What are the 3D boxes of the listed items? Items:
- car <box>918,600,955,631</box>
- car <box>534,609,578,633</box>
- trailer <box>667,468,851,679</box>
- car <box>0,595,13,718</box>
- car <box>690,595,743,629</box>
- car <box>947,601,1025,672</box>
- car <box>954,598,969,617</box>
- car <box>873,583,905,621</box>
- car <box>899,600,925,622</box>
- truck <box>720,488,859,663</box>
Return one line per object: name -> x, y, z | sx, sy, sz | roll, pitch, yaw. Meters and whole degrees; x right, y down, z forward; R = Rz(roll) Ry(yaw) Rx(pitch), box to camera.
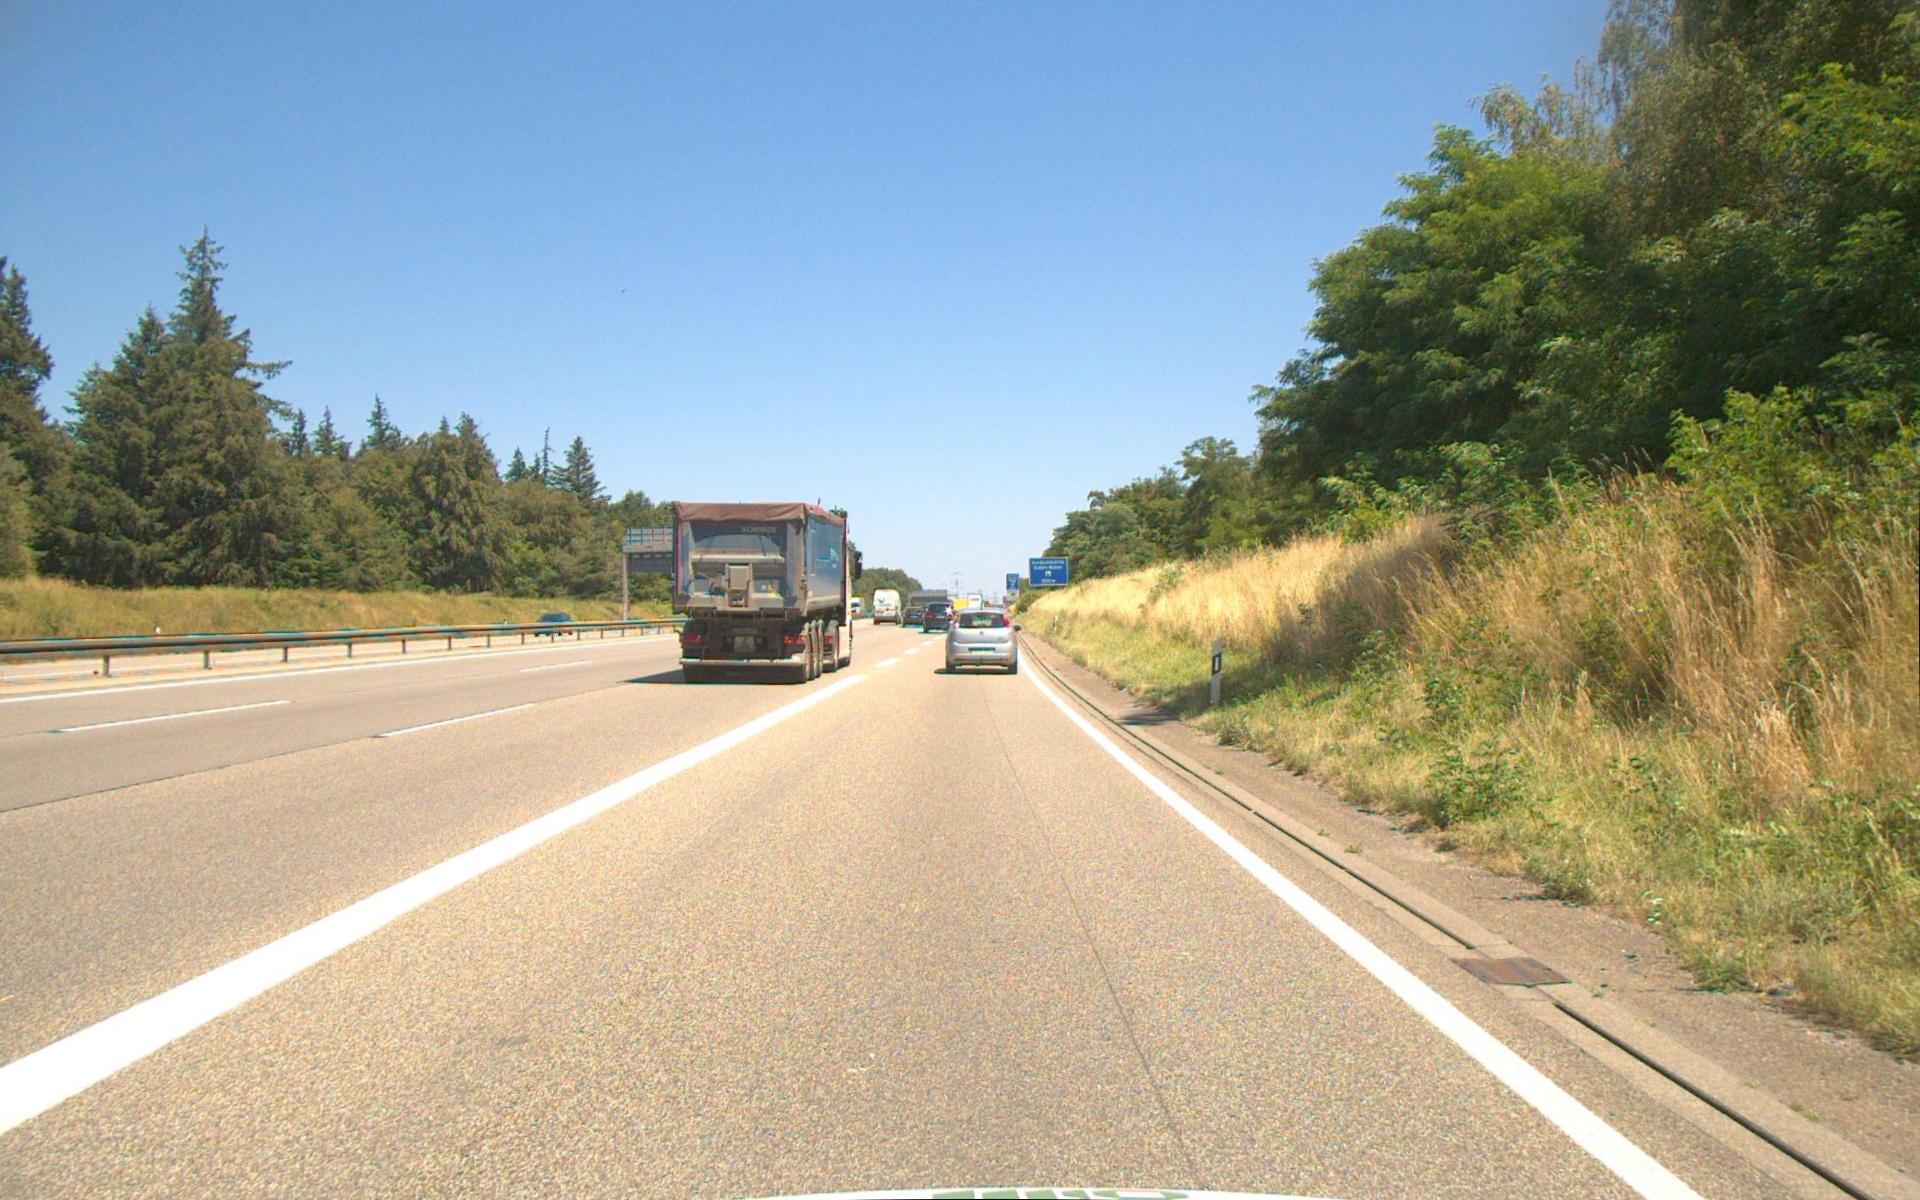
car -> -1.331, 0.872, 94.002 | 1.793, 1.701, 4.001 | 1, 0, 3
car -> -26.814, 1.367, 109.886 | 1.656, 1.416, 4.676 | -2, 0, 1
trailer -> -3.952, -0.519, 34.678 | 2.680, 3.824, 9.109 | 0, 0, 0
car -> -12.342, 0.684, 17.382 | 1.794, 1.456, 5.000 | 1, 1, 1
car -> -11.328, 0.539, 77.136 | 1.668, 1.500, 4.597 | 0, 1, 1
car -> 0.554, 0.808, 38.389 | 1.684, 1.517, 3.736 | 1, 1, -1
car -> 0.169, 0.832, 179.530 | 1.578, 2.049, 4.000 | 1, 0, 0
car -> -5.777, 0.165, 135.373 | 2.213, 3.002, 6.114 | 1, 0, 0
car -> -3.537, 0.813, 121.549 | 1.856, 1.495, 4.260 | 1, 0, -1
truck -> -3.926, -0.562, 39.267 | 2.629, 3.824, 5.944 | 0, 0, 0
